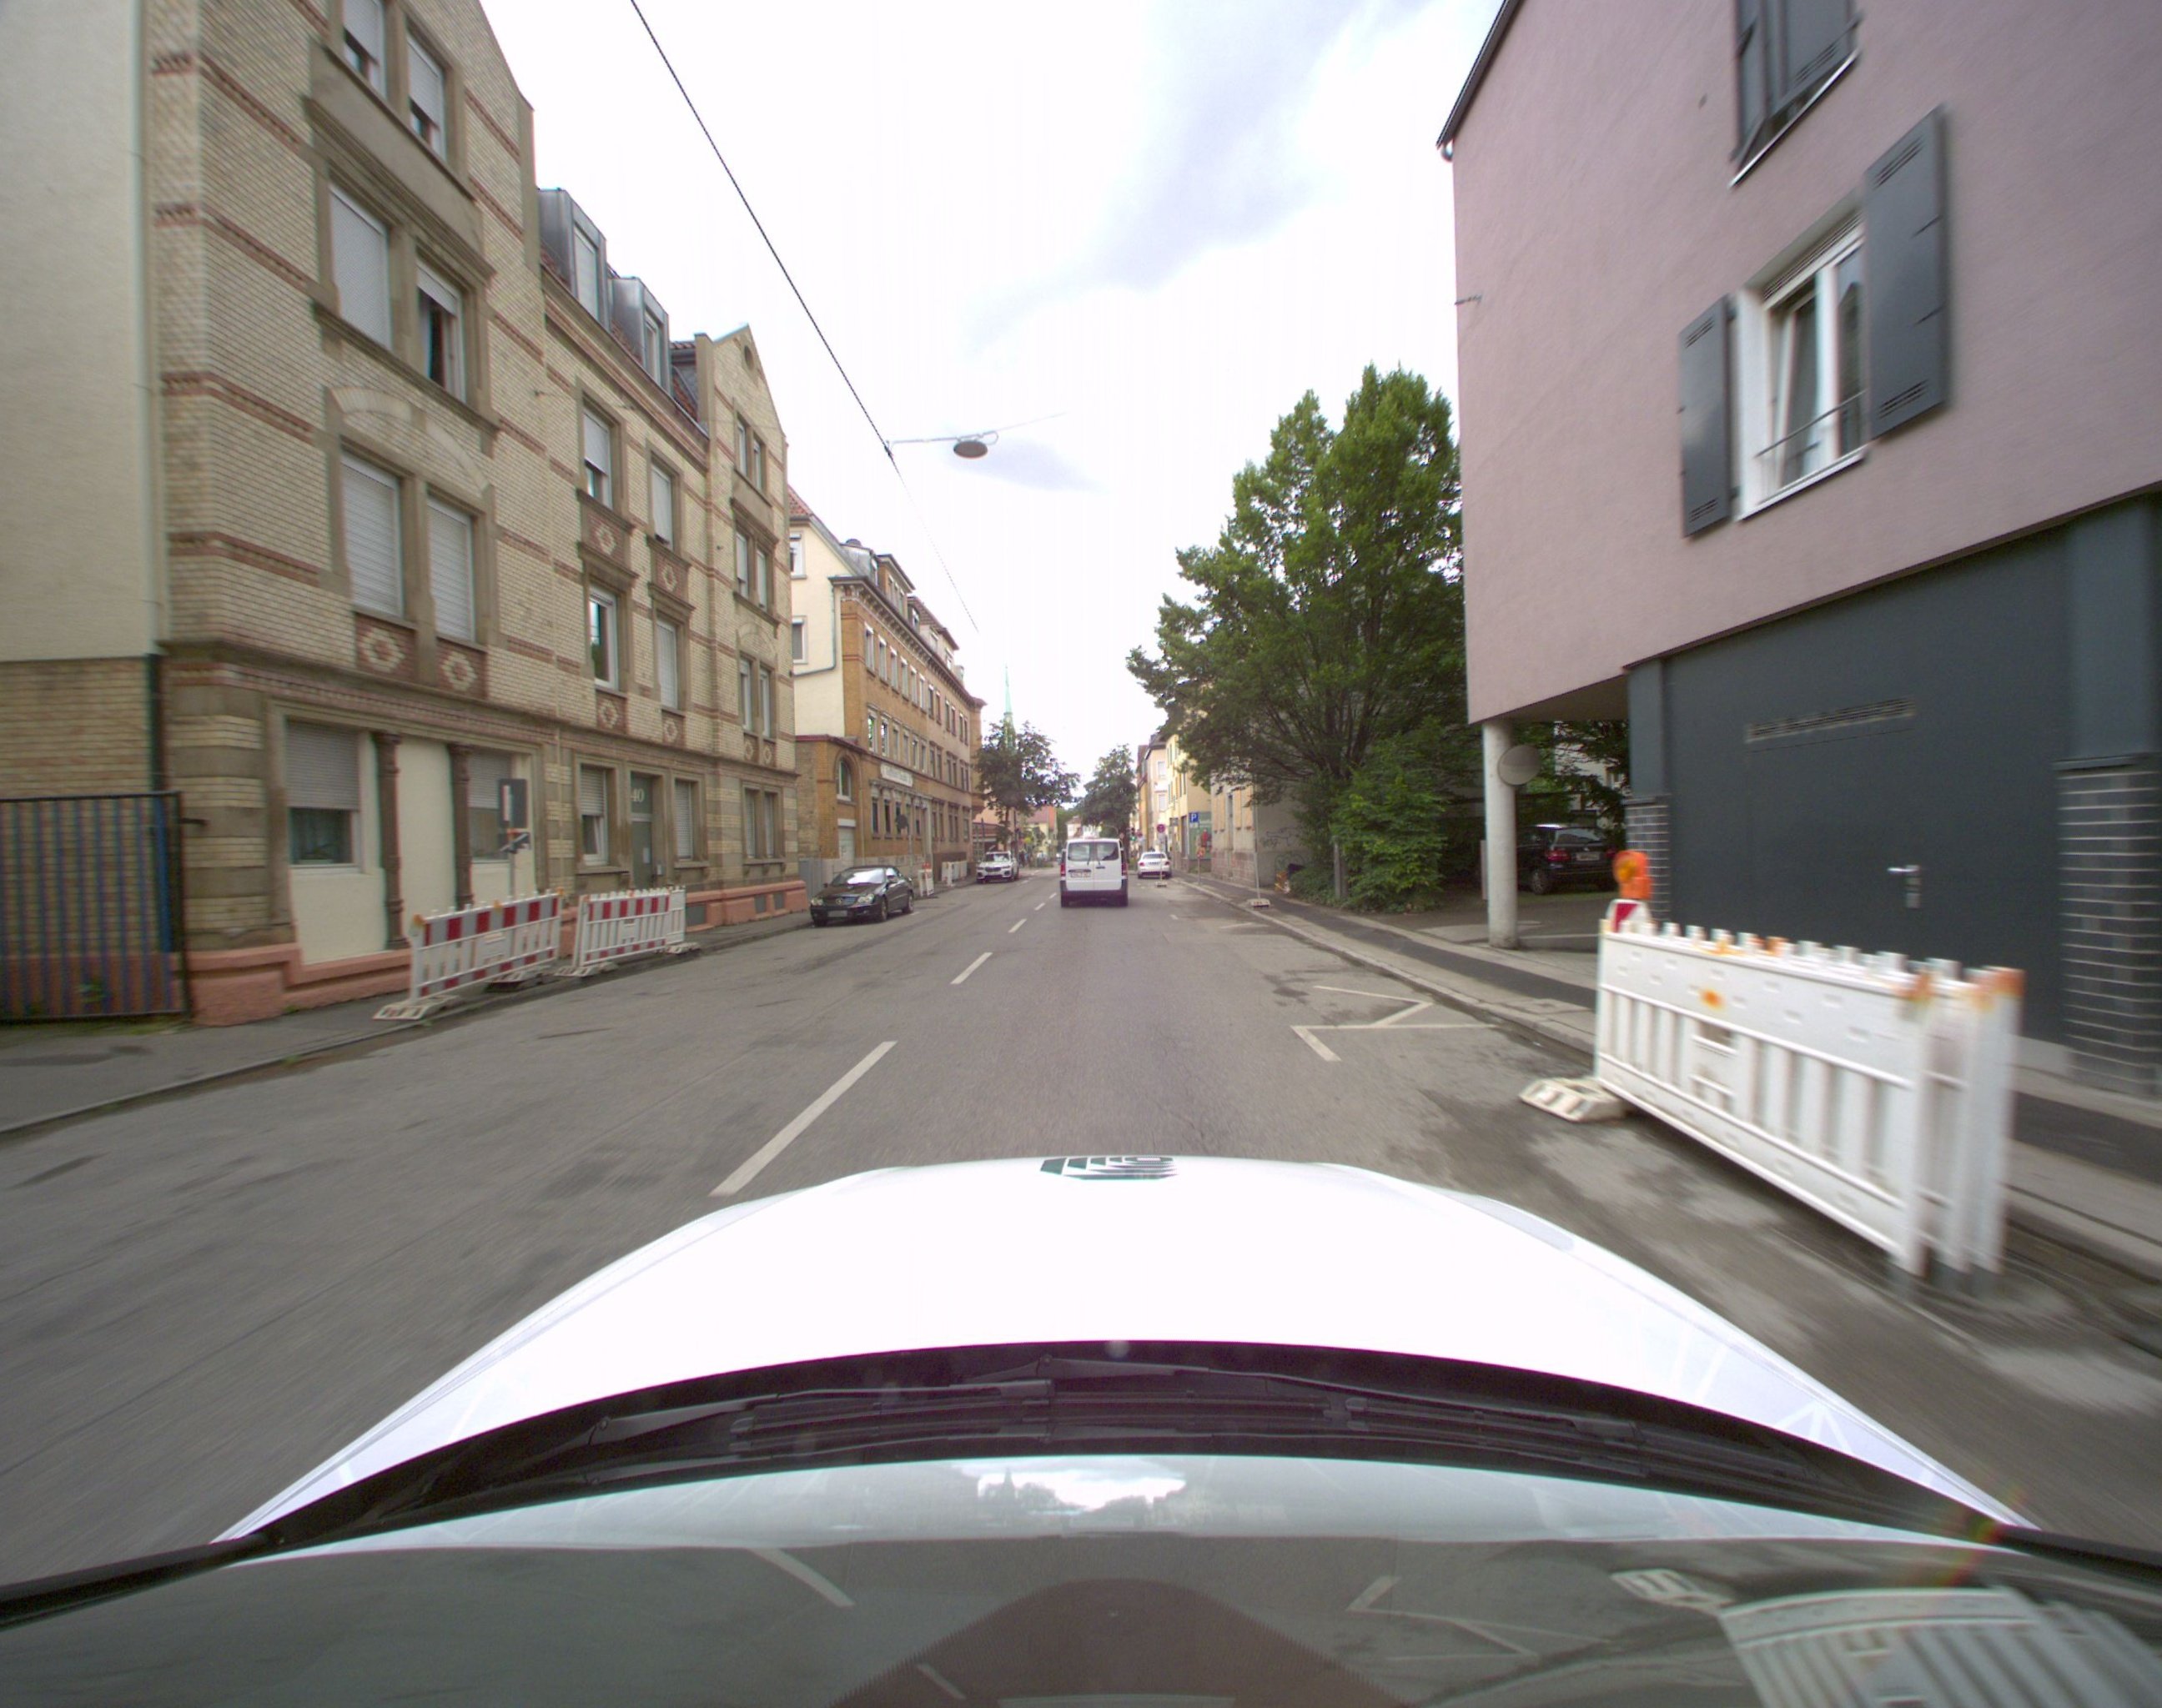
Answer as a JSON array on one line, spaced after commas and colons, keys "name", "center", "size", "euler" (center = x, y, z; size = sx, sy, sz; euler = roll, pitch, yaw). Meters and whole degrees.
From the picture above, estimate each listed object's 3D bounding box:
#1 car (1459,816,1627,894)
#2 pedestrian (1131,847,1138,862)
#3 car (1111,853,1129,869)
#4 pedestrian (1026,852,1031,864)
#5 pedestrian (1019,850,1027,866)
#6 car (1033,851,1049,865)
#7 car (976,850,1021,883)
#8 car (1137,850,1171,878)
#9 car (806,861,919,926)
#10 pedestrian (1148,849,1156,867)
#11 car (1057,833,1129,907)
[{"name": "car", "center": [11.093, -0.015, 19.913], "size": [1.632, 1.584, 3.996], "euler": [-4, 1, -3]}, {"name": "pedestrian", "center": [6.095, 0.044, 92.695], "size": [0.699, 1.649, 0.888], "euler": [-3, 0, -1]}, {"name": "car", "center": [4.530, 0.770, 95.060], "size": [1.815, 1.781, 4.400], "euler": [-1, 0, -2]}, {"name": "pedestrian", "center": [-6.862, 0.521, 105.748], "size": [0.569, 1.554, 0.697], "euler": [0, 0, 0]}, {"name": "pedestrian", "center": [-6.540, 0.437, 91.808], "size": [0.737, 1.718, 1.155], "euler": [-1, 0, -2]}, {"name": "car", "center": [-4.871, 0.482, 100.455], "size": [1.698, 1.574, 4.449], "euler": [-4, 0, -1]}, {"name": "car", "center": [-4.645, 0.667, 46.345], "size": [1.884, 1.712, 4.742], "euler": [-4, 0, 1]}, {"name": "car", "center": [4.100, 0.509, 46.257], "size": [1.759, 1.466, 4.788], "euler": [-1, 0, 4]}, {"name": "car", "center": [-5.578, 0.948, 21.364], "size": [1.573, 1.382, 4.356], "euler": [-3, 0, 2]}, {"name": "pedestrian", "center": [6.619, 0.330, 76.007], "size": [0.613, 1.653, 0.982], "euler": [0, 0, -1]}, {"name": "car", "center": [0.340, 0.433, 23.680], "size": [1.866, 1.912, 4.000], "euler": [-2, 0, 1]}]
